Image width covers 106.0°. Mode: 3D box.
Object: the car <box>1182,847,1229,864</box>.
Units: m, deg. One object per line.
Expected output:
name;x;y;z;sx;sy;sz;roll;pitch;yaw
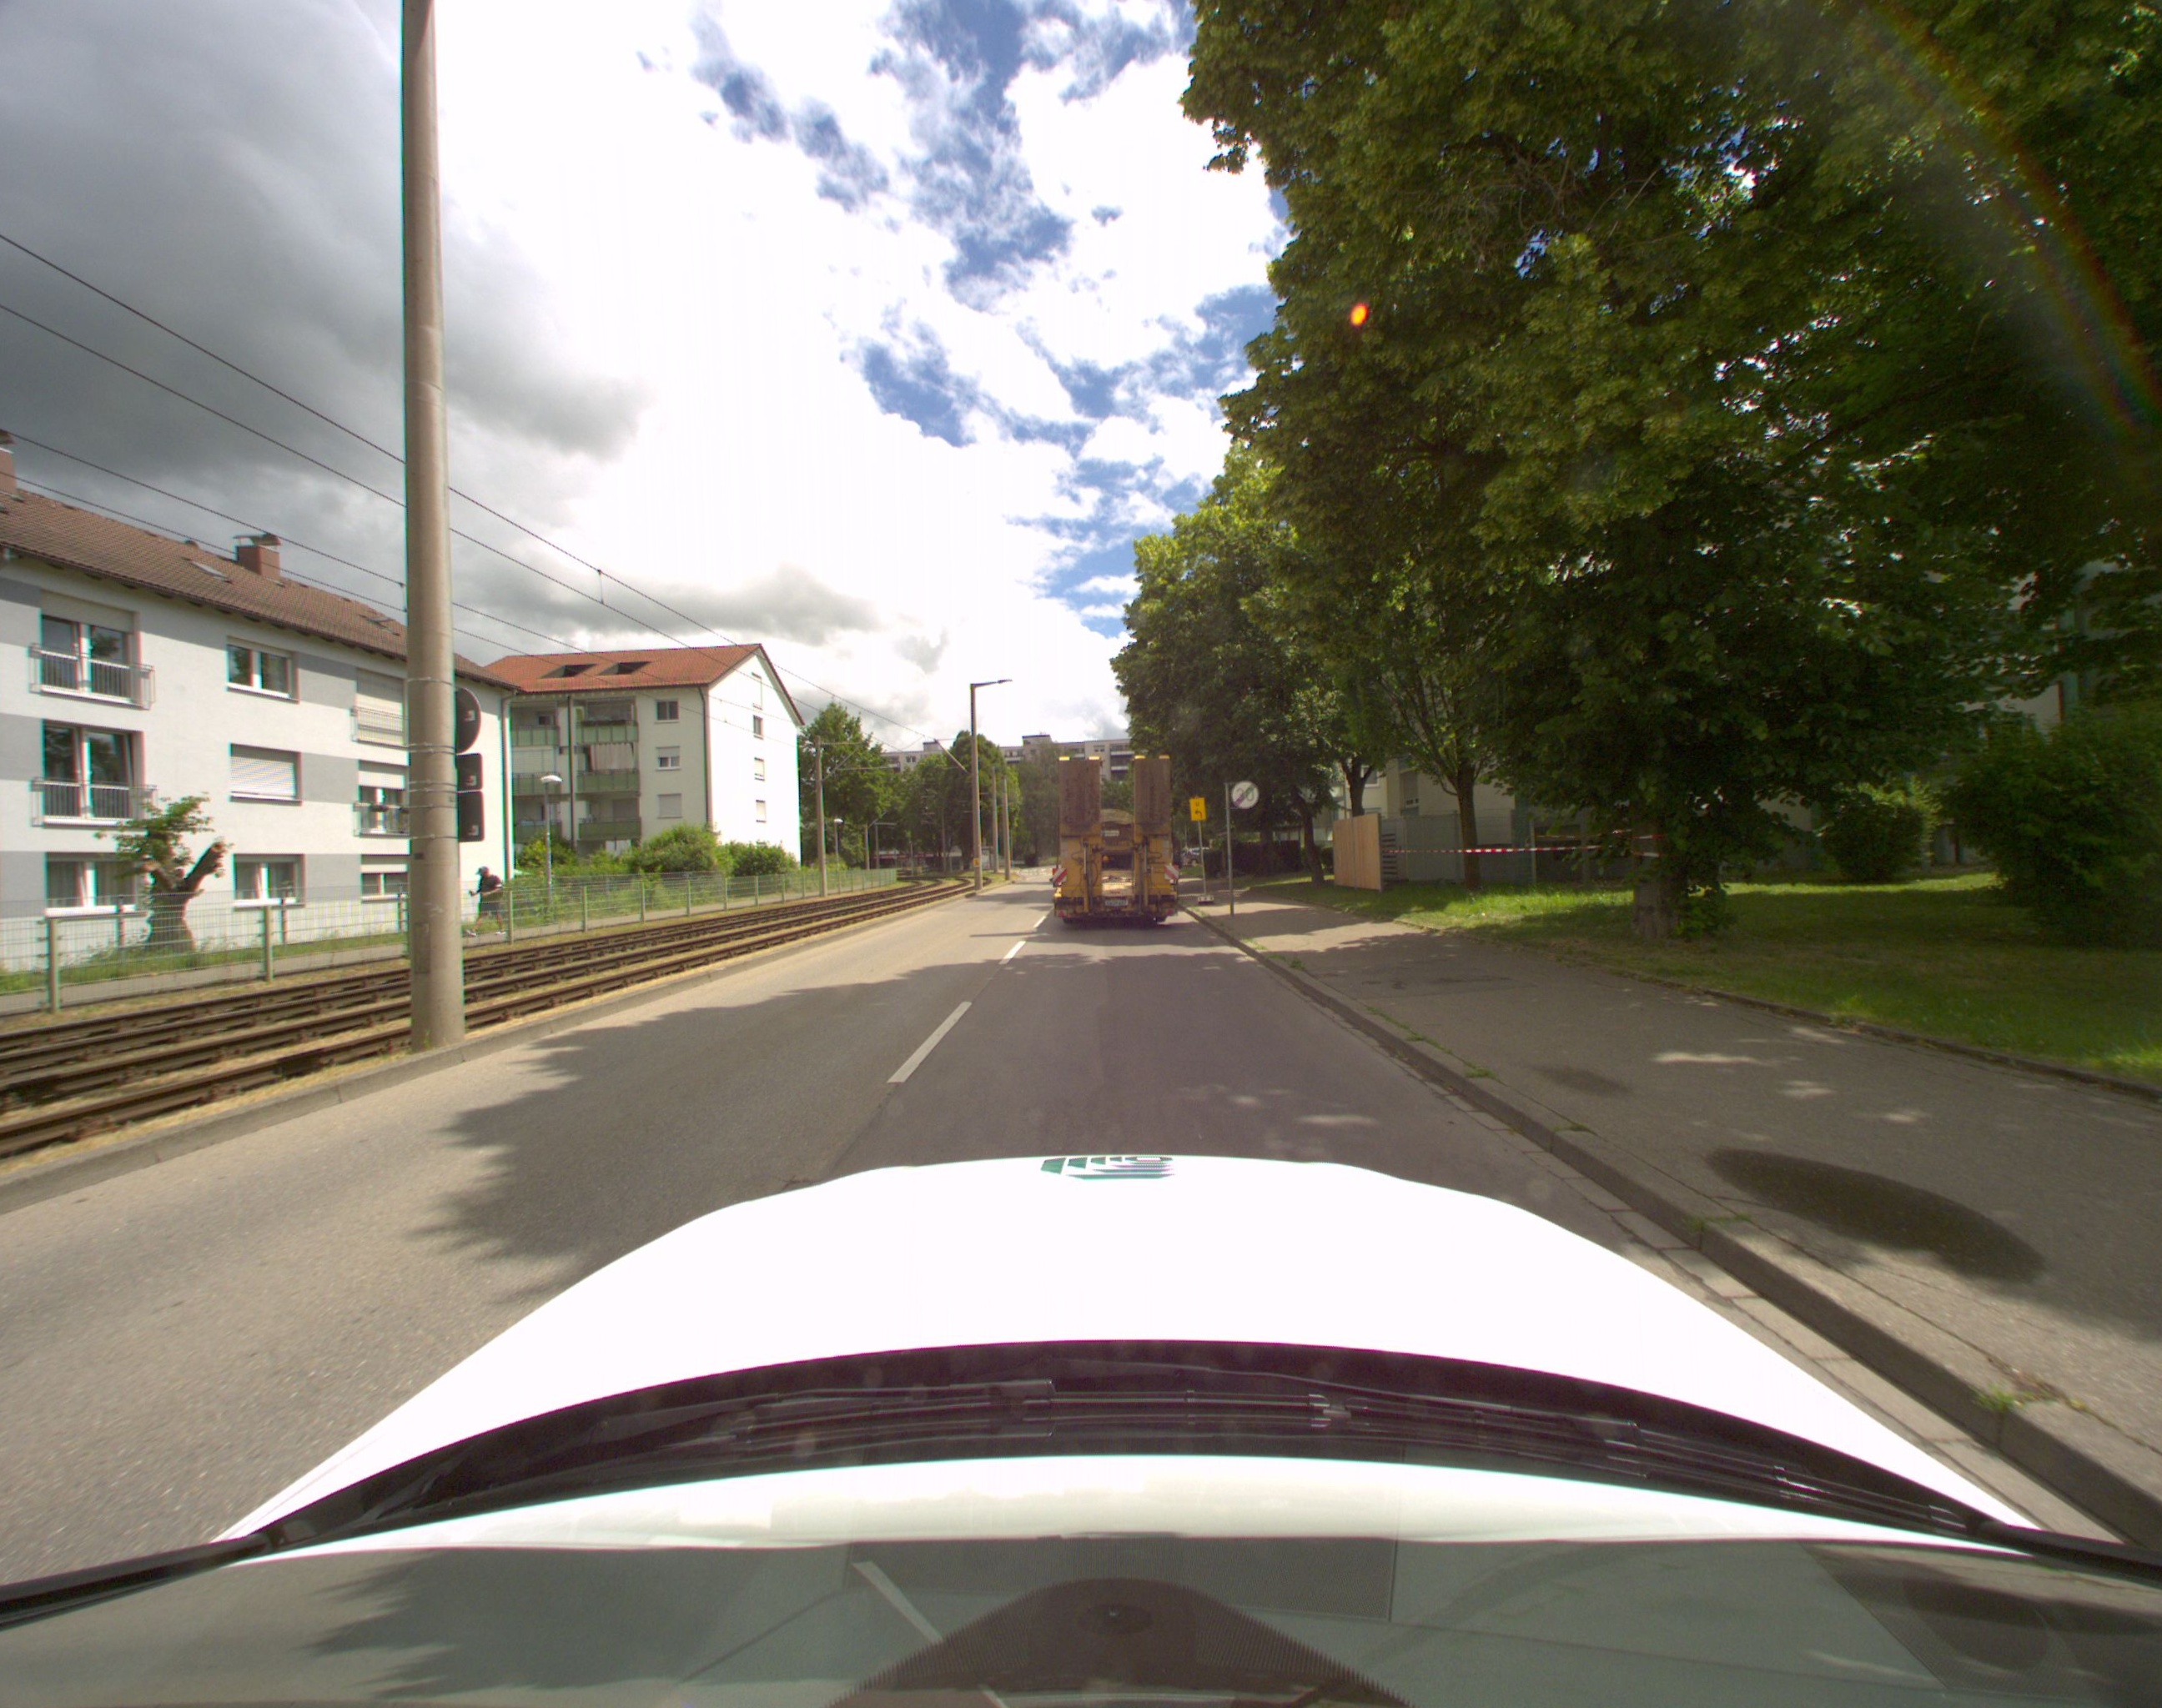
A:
car;11.586;0.117;75.931;3.988;1.561;1.753;-1;0;-11

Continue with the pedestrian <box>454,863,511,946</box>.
pedestrian;-13.931;1.159;18.983;0.657;1.849;0.769;-3;0;1

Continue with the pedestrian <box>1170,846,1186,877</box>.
pedestrian;5.445;0.404;45.718;0.715;1.706;0.766;-3;0;1

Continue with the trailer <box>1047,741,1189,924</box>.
trailer;0.833;-0.424;22.493;2.817;3.646;12.355;-1;0;1
